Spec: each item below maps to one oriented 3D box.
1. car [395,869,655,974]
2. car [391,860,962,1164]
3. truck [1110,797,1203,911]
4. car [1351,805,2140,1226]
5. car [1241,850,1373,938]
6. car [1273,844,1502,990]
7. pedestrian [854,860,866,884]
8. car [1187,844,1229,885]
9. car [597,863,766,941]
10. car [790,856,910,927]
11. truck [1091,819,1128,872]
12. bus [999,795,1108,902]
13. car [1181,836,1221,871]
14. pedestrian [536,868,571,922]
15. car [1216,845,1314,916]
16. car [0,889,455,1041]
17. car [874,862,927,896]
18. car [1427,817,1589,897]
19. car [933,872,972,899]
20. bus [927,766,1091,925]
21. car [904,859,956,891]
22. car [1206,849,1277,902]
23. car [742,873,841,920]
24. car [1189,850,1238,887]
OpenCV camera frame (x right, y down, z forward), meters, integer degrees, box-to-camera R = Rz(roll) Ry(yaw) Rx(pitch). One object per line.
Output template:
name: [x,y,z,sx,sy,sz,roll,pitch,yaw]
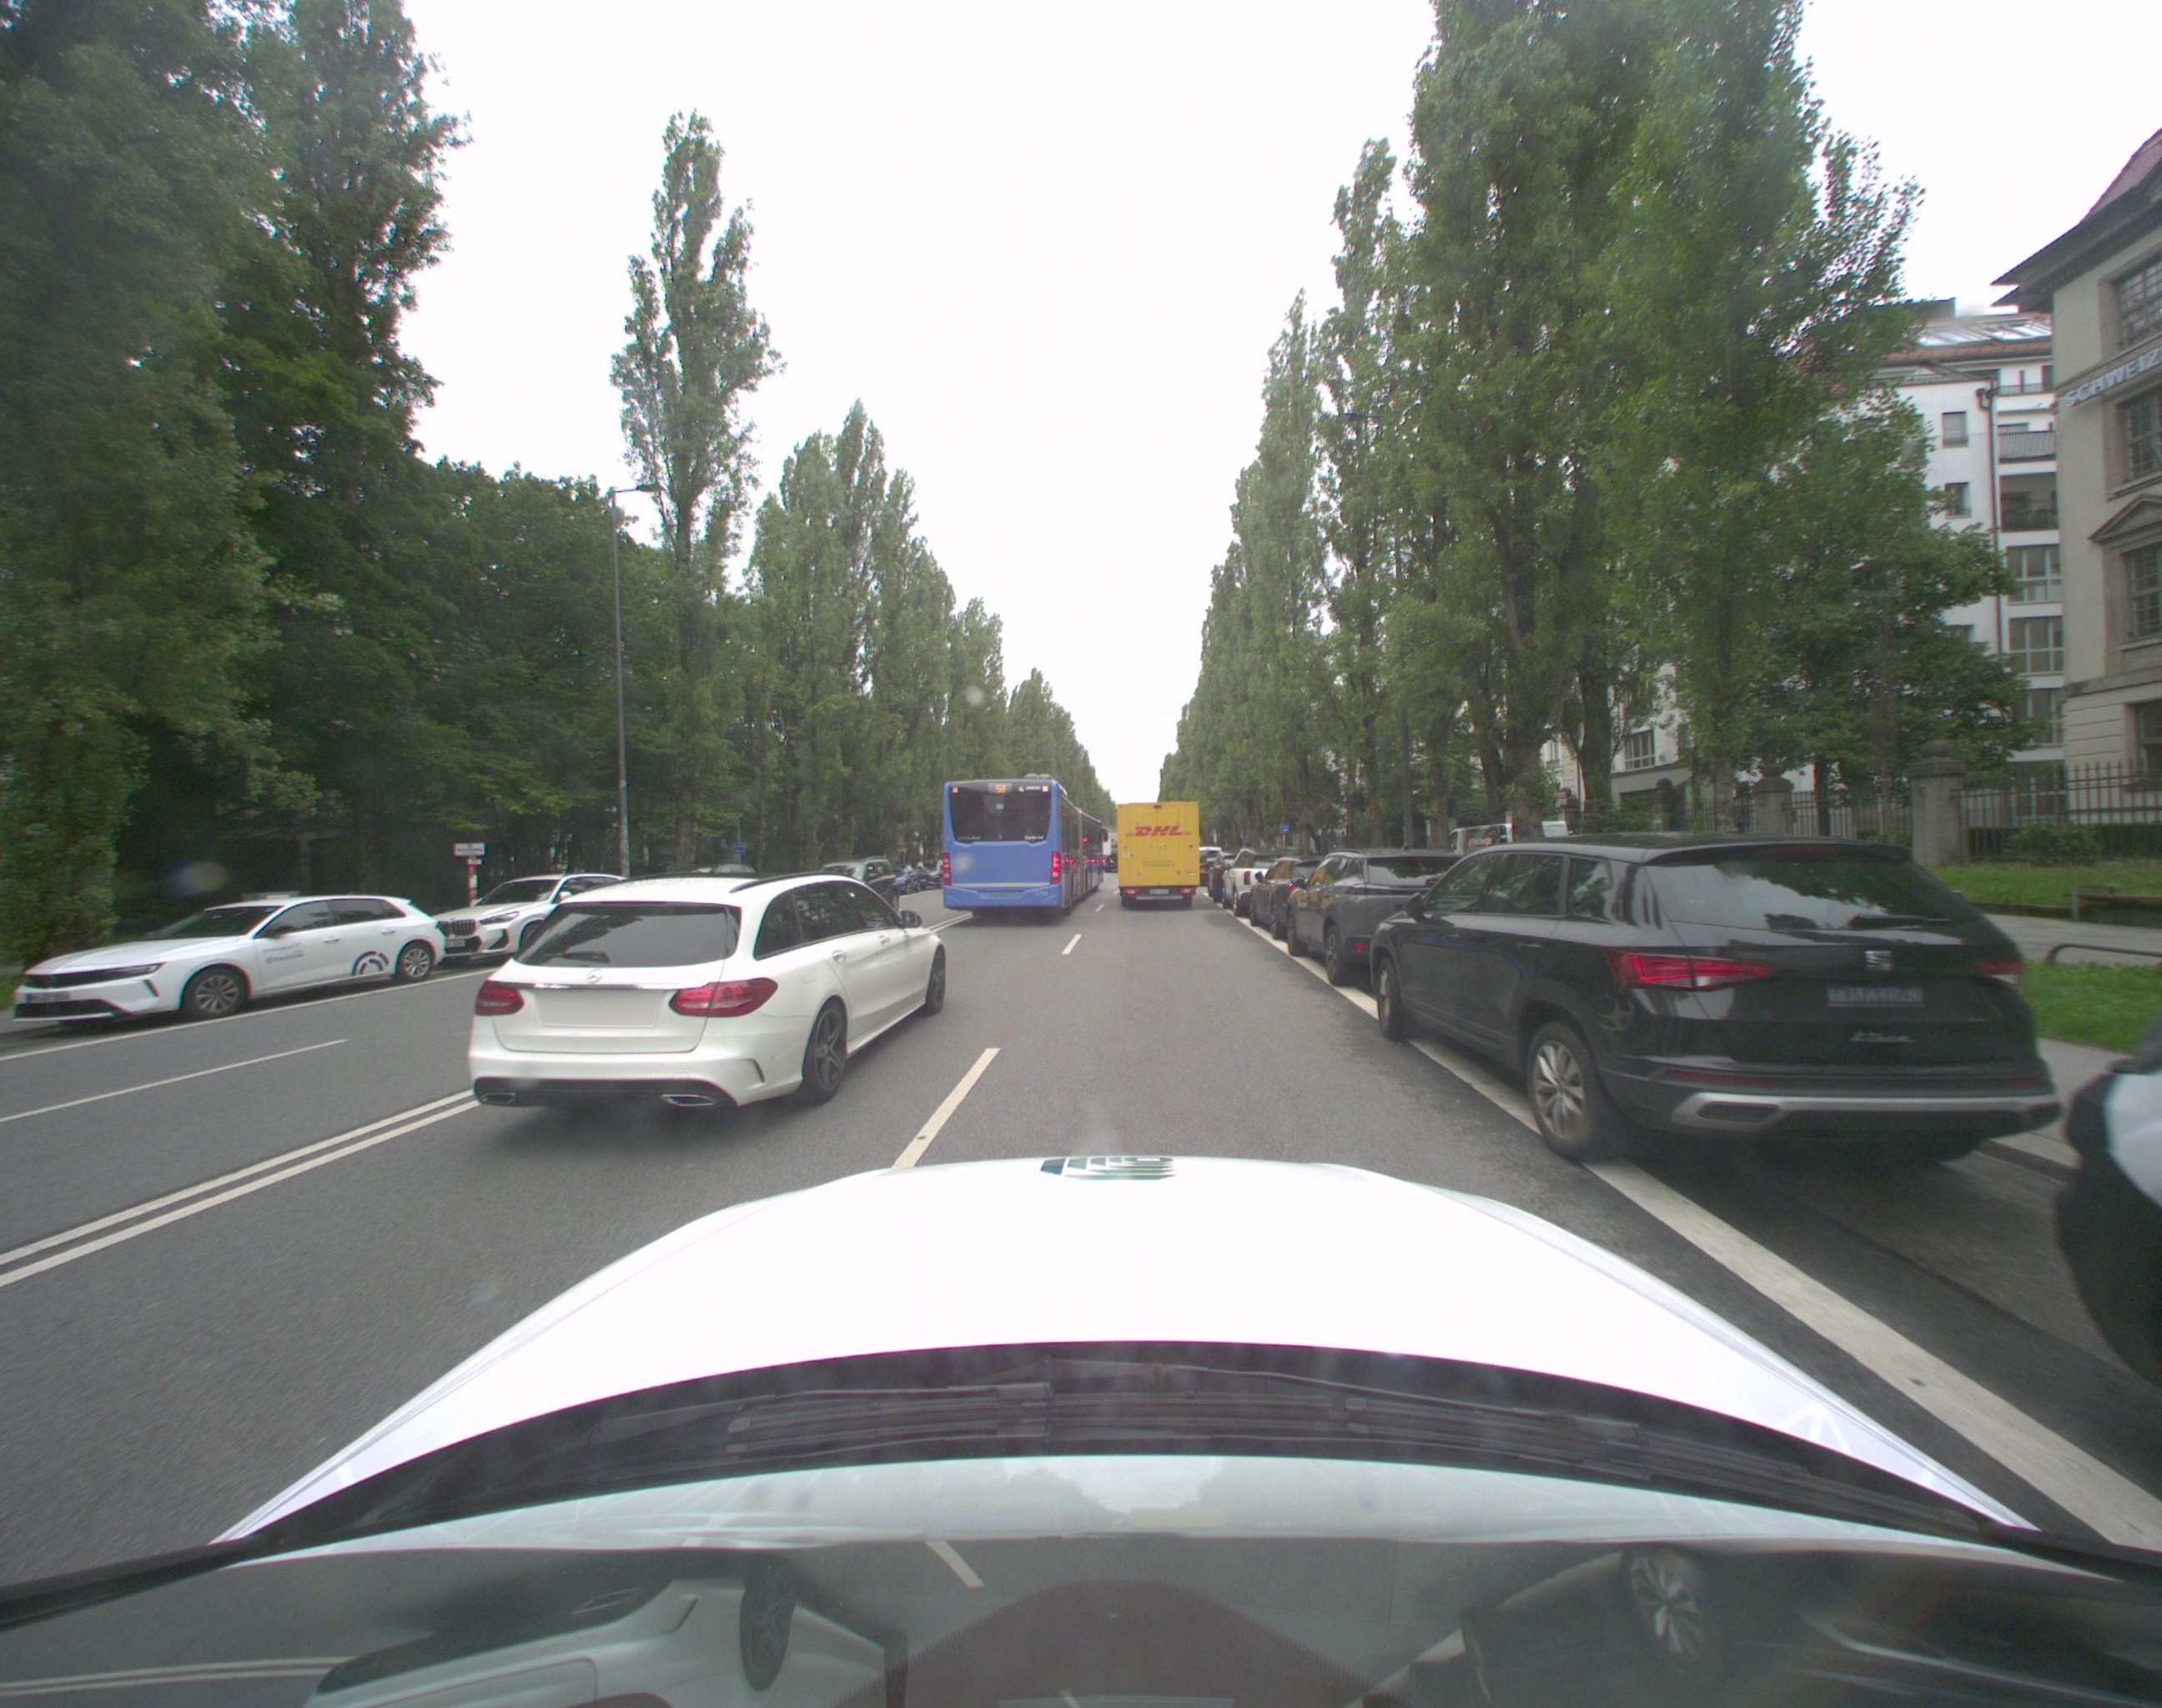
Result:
car: [-10.843,1.219,16.384,1.777,1.588,4.468,-4,0,5]
car: [-2.359,0.802,6.313,1.817,1.454,4.588,-1,0,5]
truck: [2.225,0.002,24.950,2.317,2.898,7.340,-2,0,4]
car: [3.223,0.629,5.235,1.813,1.590,4.227,-1,0,4]
car: [4.136,0.666,15.529,1.626,1.446,4.153,0,0,4]
car: [3.676,0.662,10.542,1.644,1.503,4.118,-1,0,4]
pedestrian: [-16.879,1.380,62.229,0.597,1.739,0.641,-2,0,4]
car: [6.560,0.512,42.404,1.797,1.976,4.242,-2,0,5]
car: [-10.498,1.187,21.899,1.872,1.658,4.722,-5,0,3]
car: [-6.225,0.955,22.432,1.777,1.656,4.118,-4,0,4]
truck: [2.390,-0.664,67.471,2.705,3.965,9.223,-2,0,2]
bus: [-0.720,-0.172,30.730,2.858,3.304,9.802,-2,0,5]
car: [7.418,-0.038,50.780,2.043,2.013,5.700,-2,0,5]
pedestrian: [-18.217,1.393,28.148,0.637,1.815,0.776,-2,0,4]
car: [4.446,0.596,20.217,1.773,1.581,4.151,0,0,4]
car: [-11.201,1.334,11.161,1.669,1.422,4.242,-4,0,4]
car: [-9.038,1.215,41.043,1.738,1.518,4.116,-4,0,-1]
car: [11.716,0.072,22.847,1.985,1.925,5.329,-2,0,4]
car: [-8.118,1.964,51.912,1.533,1.433,3.873,-5,0,3]
bus: [-1.445,-0.189,21.390,2.843,3.213,9.069,-2,0,4]
car: [-8.513,1.173,46.319,1.783,1.548,4.342,-5,0,3]
car: [4.984,0.617,25.817,1.717,1.495,4.330,-2,0,5]
car: [-9.817,1.392,27.923,1.573,1.304,4.034,-4,0,5]
car: [5.954,0.620,36.911,1.854,1.552,4.006,-2,0,5]
